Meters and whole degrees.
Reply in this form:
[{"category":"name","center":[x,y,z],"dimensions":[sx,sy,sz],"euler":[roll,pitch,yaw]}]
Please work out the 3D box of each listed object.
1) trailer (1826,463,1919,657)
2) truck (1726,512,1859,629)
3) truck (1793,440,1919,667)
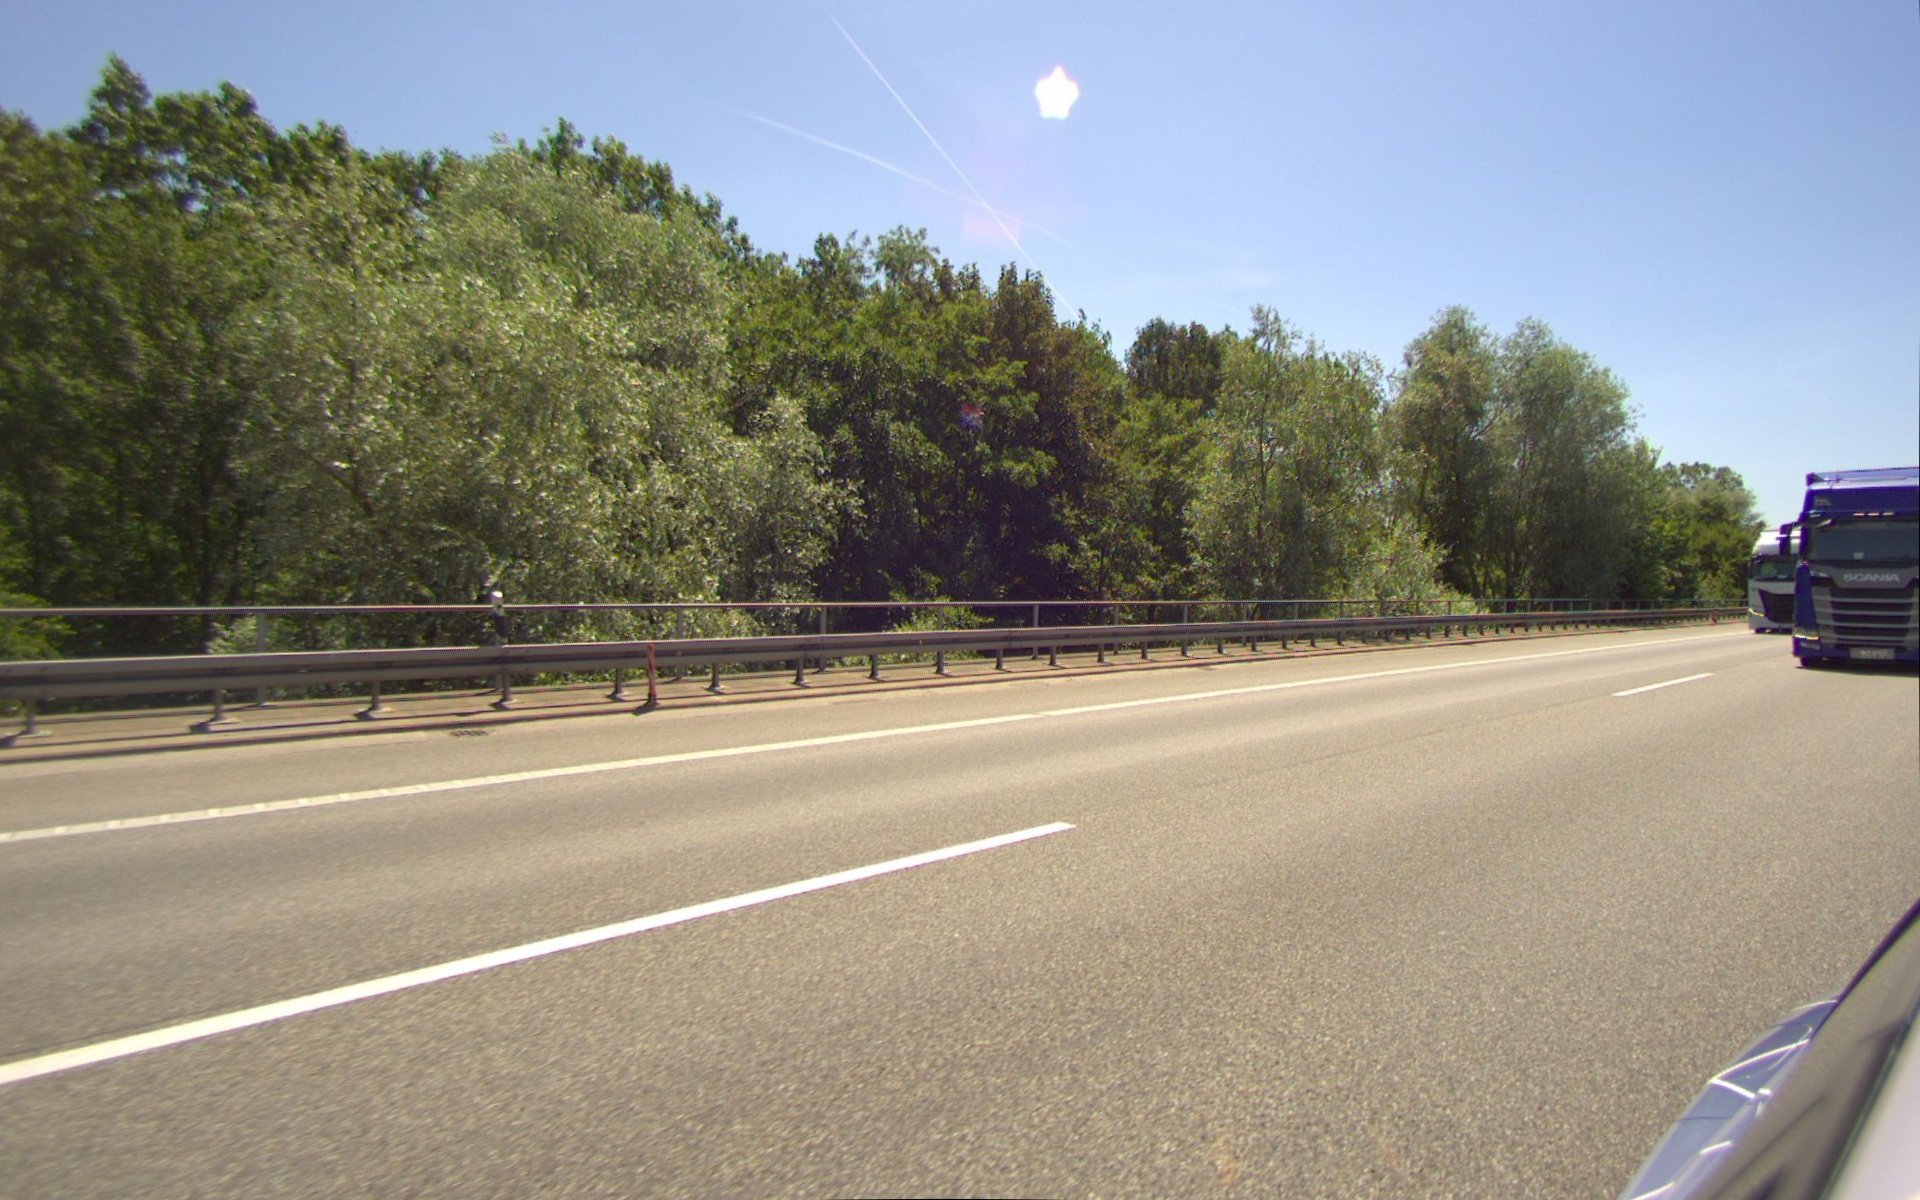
[{"category":"trailer","center":[24.894,-0.895,25.946],"dimensions":[11.925,4.169,2.704],"euler":[0,1,-43]},{"category":"truck","center":[33.970,-1.113,41.103],"dimensions":[10.271,4.216,2.816],"euler":[0,1,-43]},{"category":"truck","center":[19.886,-0.880,21.317],"dimensions":[6.872,4.169,2.703],"euler":[0,0,-43]}]
